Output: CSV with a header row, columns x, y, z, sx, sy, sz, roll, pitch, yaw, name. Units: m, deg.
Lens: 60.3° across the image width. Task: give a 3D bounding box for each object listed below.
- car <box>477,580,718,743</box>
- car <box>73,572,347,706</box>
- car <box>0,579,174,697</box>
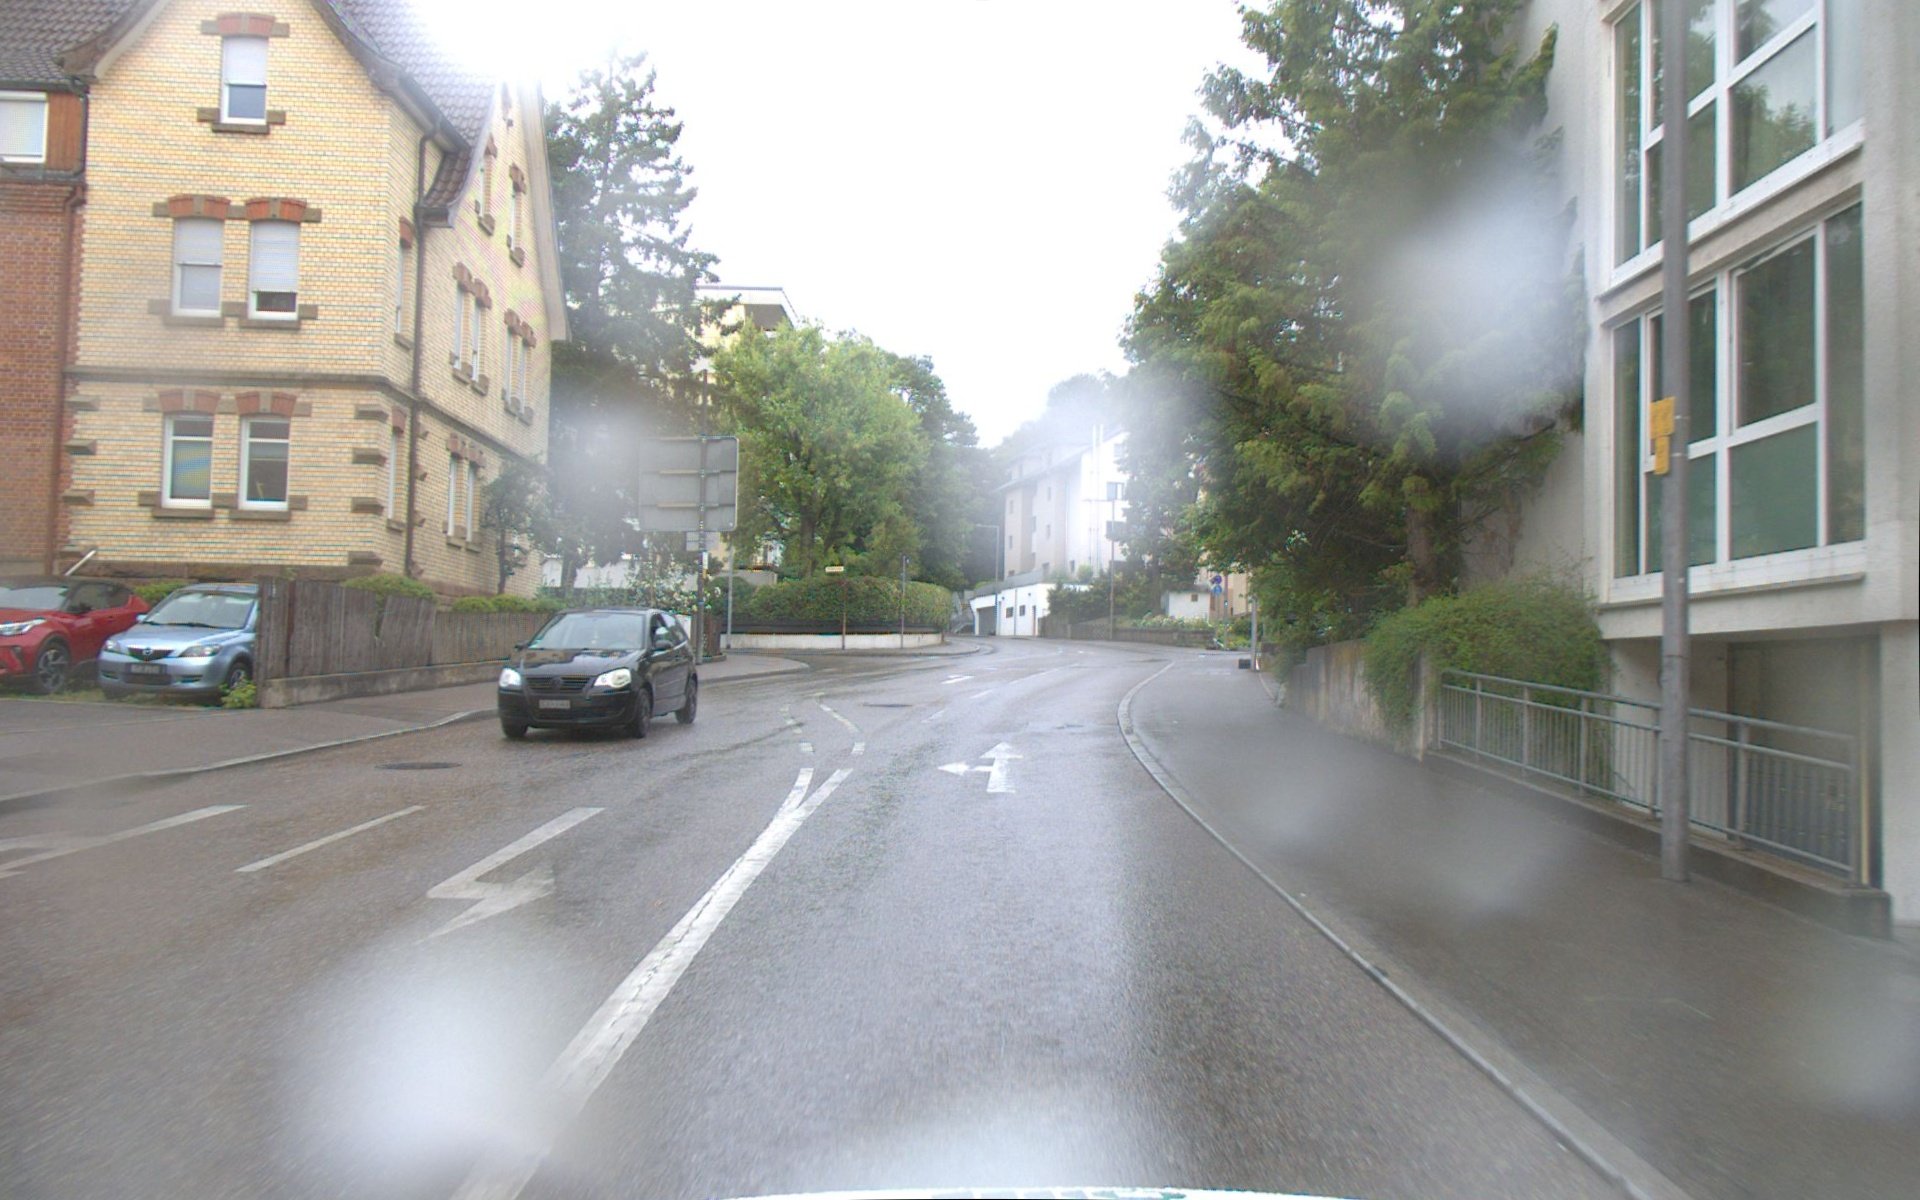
x,y,z,sx,sy,sz,roll,pitch,yaw,name
-4.148,0.675,19.552,1.709,1.599,3.814,4,0,3,car
-9.686,0.456,21.721,1.734,1.529,3.883,2,0,1,car
-12.318,0.444,22.128,1.735,1.391,3.882,2,0,-1,car
